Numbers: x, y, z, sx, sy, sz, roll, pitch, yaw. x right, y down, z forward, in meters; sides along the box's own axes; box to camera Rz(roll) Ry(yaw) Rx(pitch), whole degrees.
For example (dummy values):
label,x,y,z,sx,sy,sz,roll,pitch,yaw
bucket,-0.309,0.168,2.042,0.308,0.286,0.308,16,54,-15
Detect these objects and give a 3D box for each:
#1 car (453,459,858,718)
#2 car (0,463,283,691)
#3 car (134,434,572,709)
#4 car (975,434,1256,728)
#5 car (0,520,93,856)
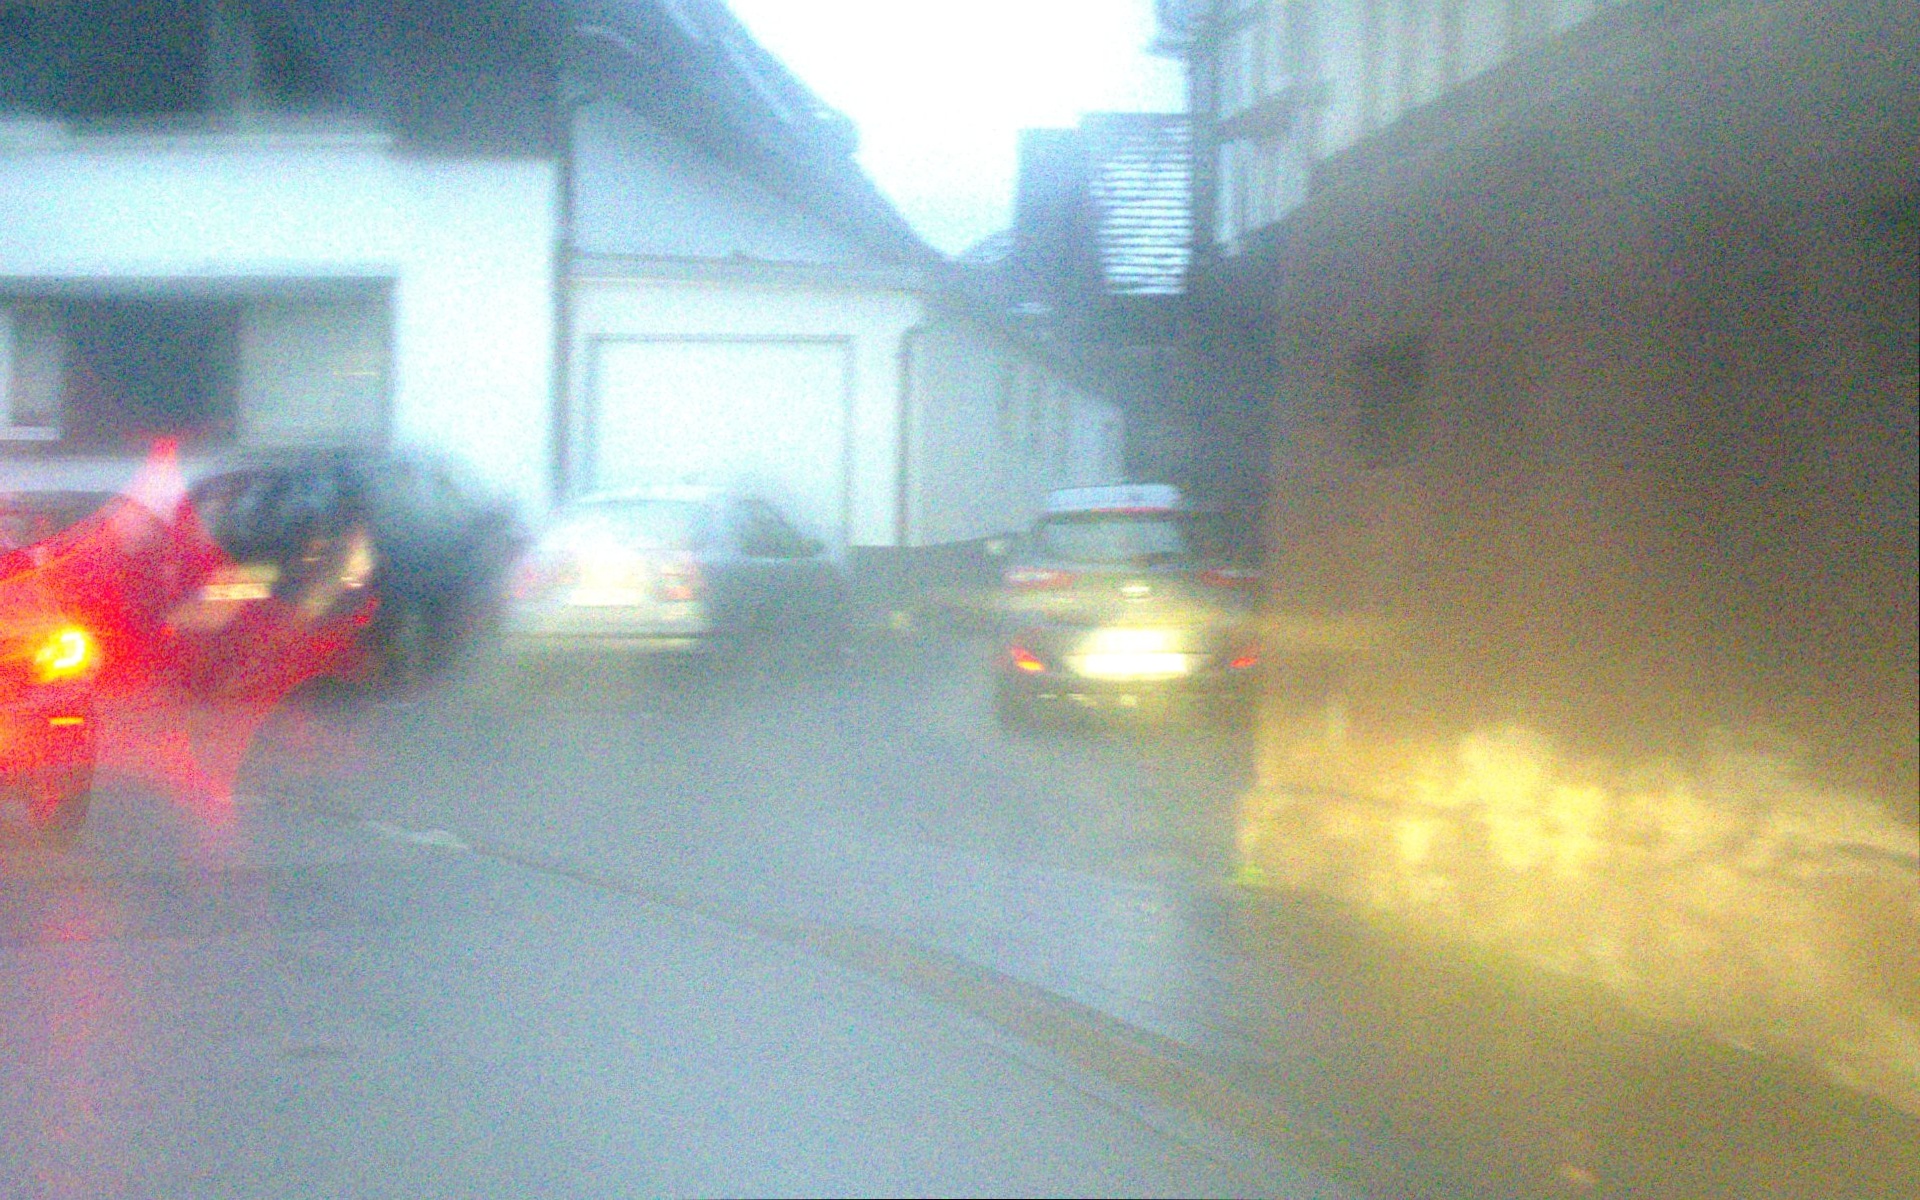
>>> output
label,x,y,z,sx,sy,sz,roll,pitch,yaw
car,-2.055,-0.147,24.462,1.810,1.415,4.037,-2,5,10
car,-7.013,-0.217,27.202,1.883,1.444,3.893,-2,5,10
car,-4.495,-0.296,26.212,1.850,1.654,4.476,-2,5,9
car,1.034,-0.200,22.342,1.593,1.510,3.985,-3,5,3
car,-5.369,0.344,16.458,1.546,1.461,3.699,0,1,-28
